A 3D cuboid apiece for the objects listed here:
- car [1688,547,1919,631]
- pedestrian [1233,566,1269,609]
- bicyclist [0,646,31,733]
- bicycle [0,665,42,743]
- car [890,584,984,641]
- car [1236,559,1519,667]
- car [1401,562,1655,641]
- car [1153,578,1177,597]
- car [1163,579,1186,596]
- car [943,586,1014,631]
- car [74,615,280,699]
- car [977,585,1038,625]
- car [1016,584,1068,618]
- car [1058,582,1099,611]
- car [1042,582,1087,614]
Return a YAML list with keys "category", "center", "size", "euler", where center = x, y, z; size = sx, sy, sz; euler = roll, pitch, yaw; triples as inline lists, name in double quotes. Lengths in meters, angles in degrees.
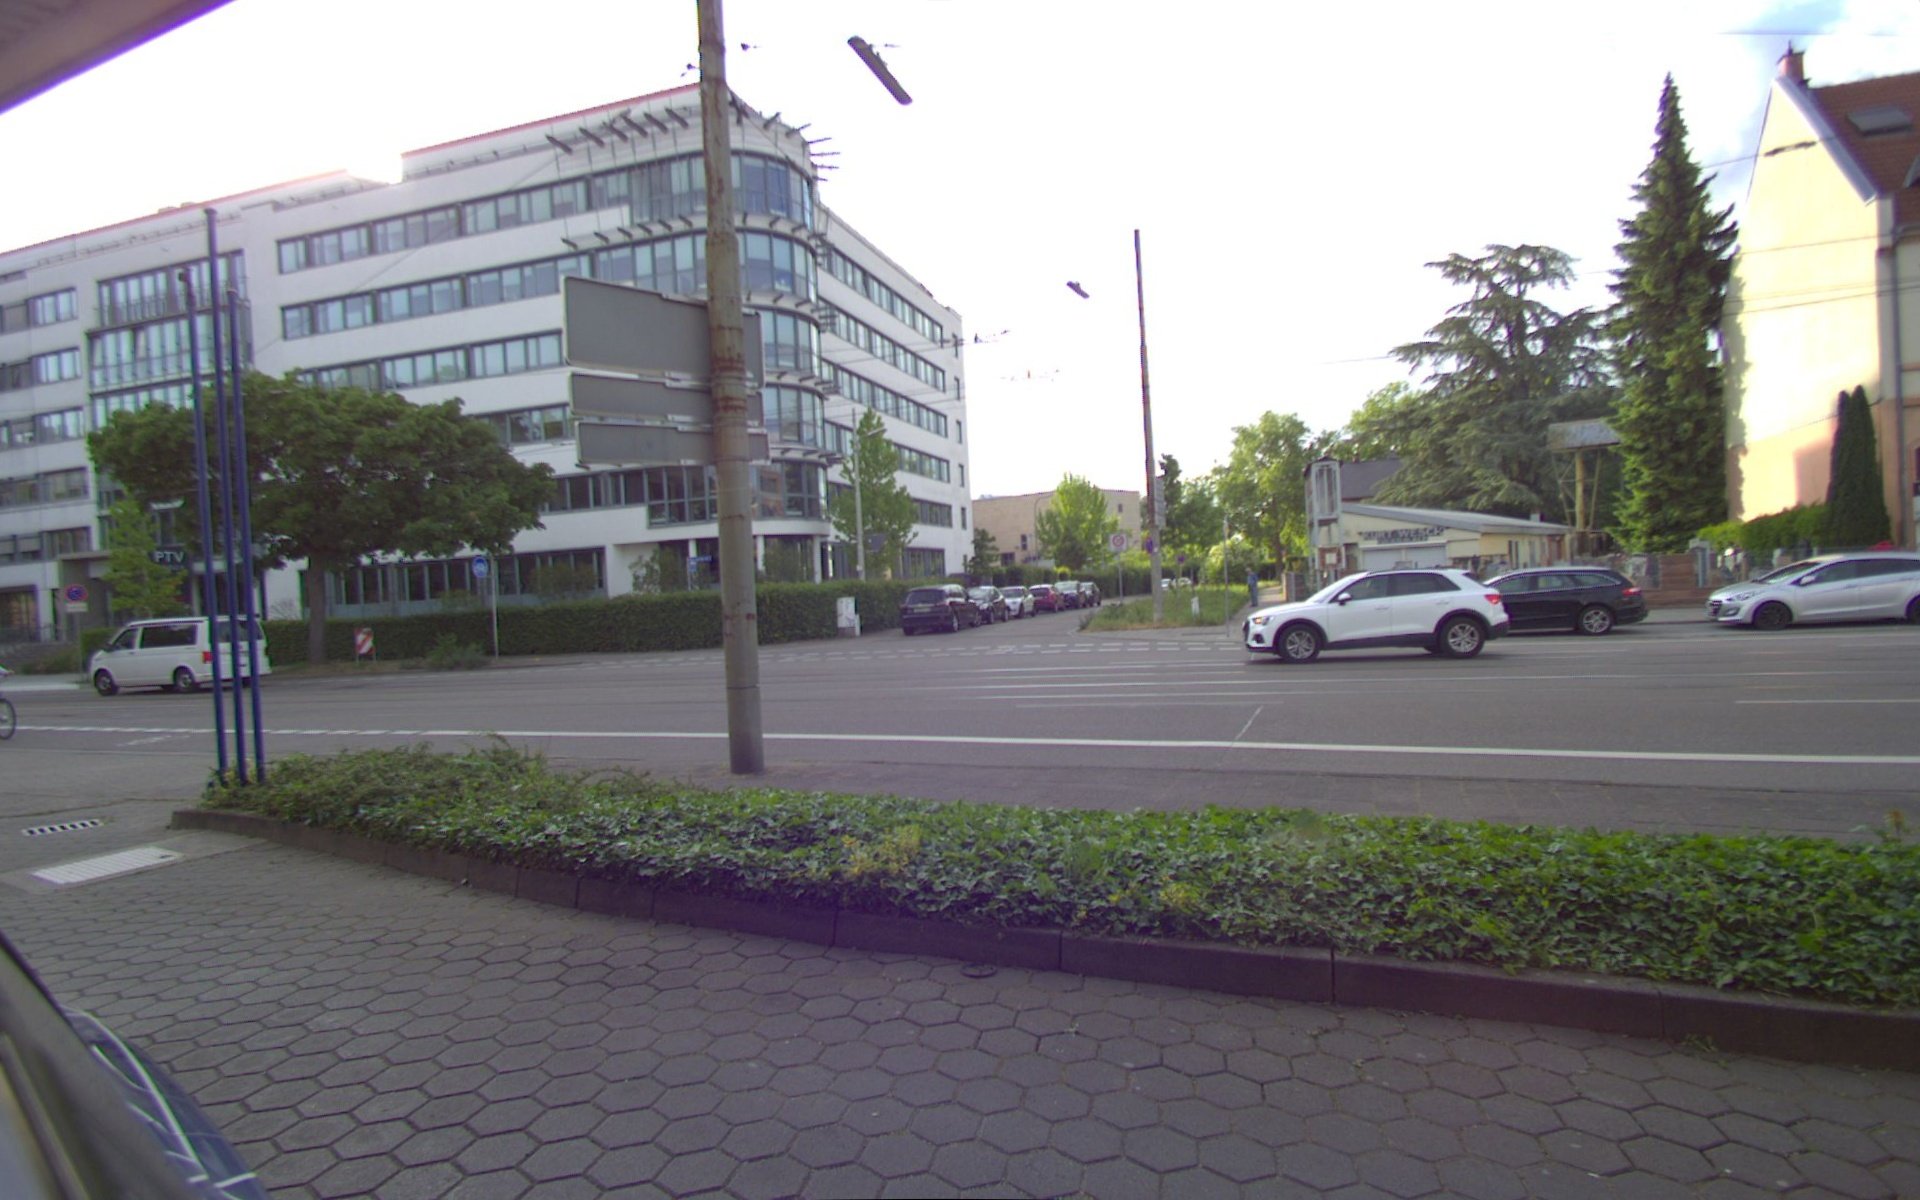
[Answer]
- category: "car"
  center: [18.488, -0.254, 21.499]
  size: [4.459, 1.486, 1.986]
  euler: [-4, 0, 22]
- category: "pedestrian"
  center: [12.706, -0.524, 44.156]
  size: [0.988, 1.843, 1.096]
  euler: [-1, 0, -28]
- category: "bicyclist"
  center: [-17.026, 1.590, 17.689]
  size: [0.910, 1.470, 0.731]
  euler: [-3, 2, 20]
- category: "bicycle"
  center: [-17.195, 1.840, 17.749]
  size: [1.924, 1.267, 0.731]
  euler: [-3, 2, 20]
- category: "car"
  center: [-0.726, 0.386, 35.537]
  size: [1.962, 1.625, 4.411]
  euler: [-4, 2, 17]
- category: "car"
  center: [7.326, 0.249, 18.216]
  size: [4.336, 1.588, 1.834]
  euler: [-4, -1, 12]
- category: "car"
  center: [12.912, 0.047, 23.416]
  size: [4.791, 1.507, 1.986]
  euler: [-4, 0, 22]
- category: "car"
  center: [20.423, -1.259, 100.614]
  size: [1.774, 1.653, 4.060]
  euler: [-4, 0, 19]
- category: "car"
  center: [22.561, -1.287, 106.312]
  size: [1.774, 1.653, 4.060]
  euler: [-4, 0, 19]
- category: "car"
  center: [0.794, 0.295, 40.894]
  size: [1.773, 1.565, 4.083]
  euler: [-4, 0, 17]
- category: "car"
  center: [-21.437, 1.543, 27.732]
  size: [4.847, 1.983, 1.989]
  euler: [-3, 0, 17]
- category: "car"
  center: [2.202, 0.182, 45.756]
  size: [1.773, 1.565, 4.083]
  euler: [-4, 0, 17]
- category: "car"
  center: [4.283, 0.030, 52.361]
  size: [1.773, 1.552, 4.018]
  euler: [-4, 0, 17]
- category: "car"
  center: [7.369, -0.226, 62.672]
  size: [1.773, 1.653, 4.064]
  euler: [-4, 0, 17]
- category: "car"
  center: [5.978, -0.129, 57.662]
  size: [1.773, 1.653, 4.064]
  euler: [-4, 0, 17]
